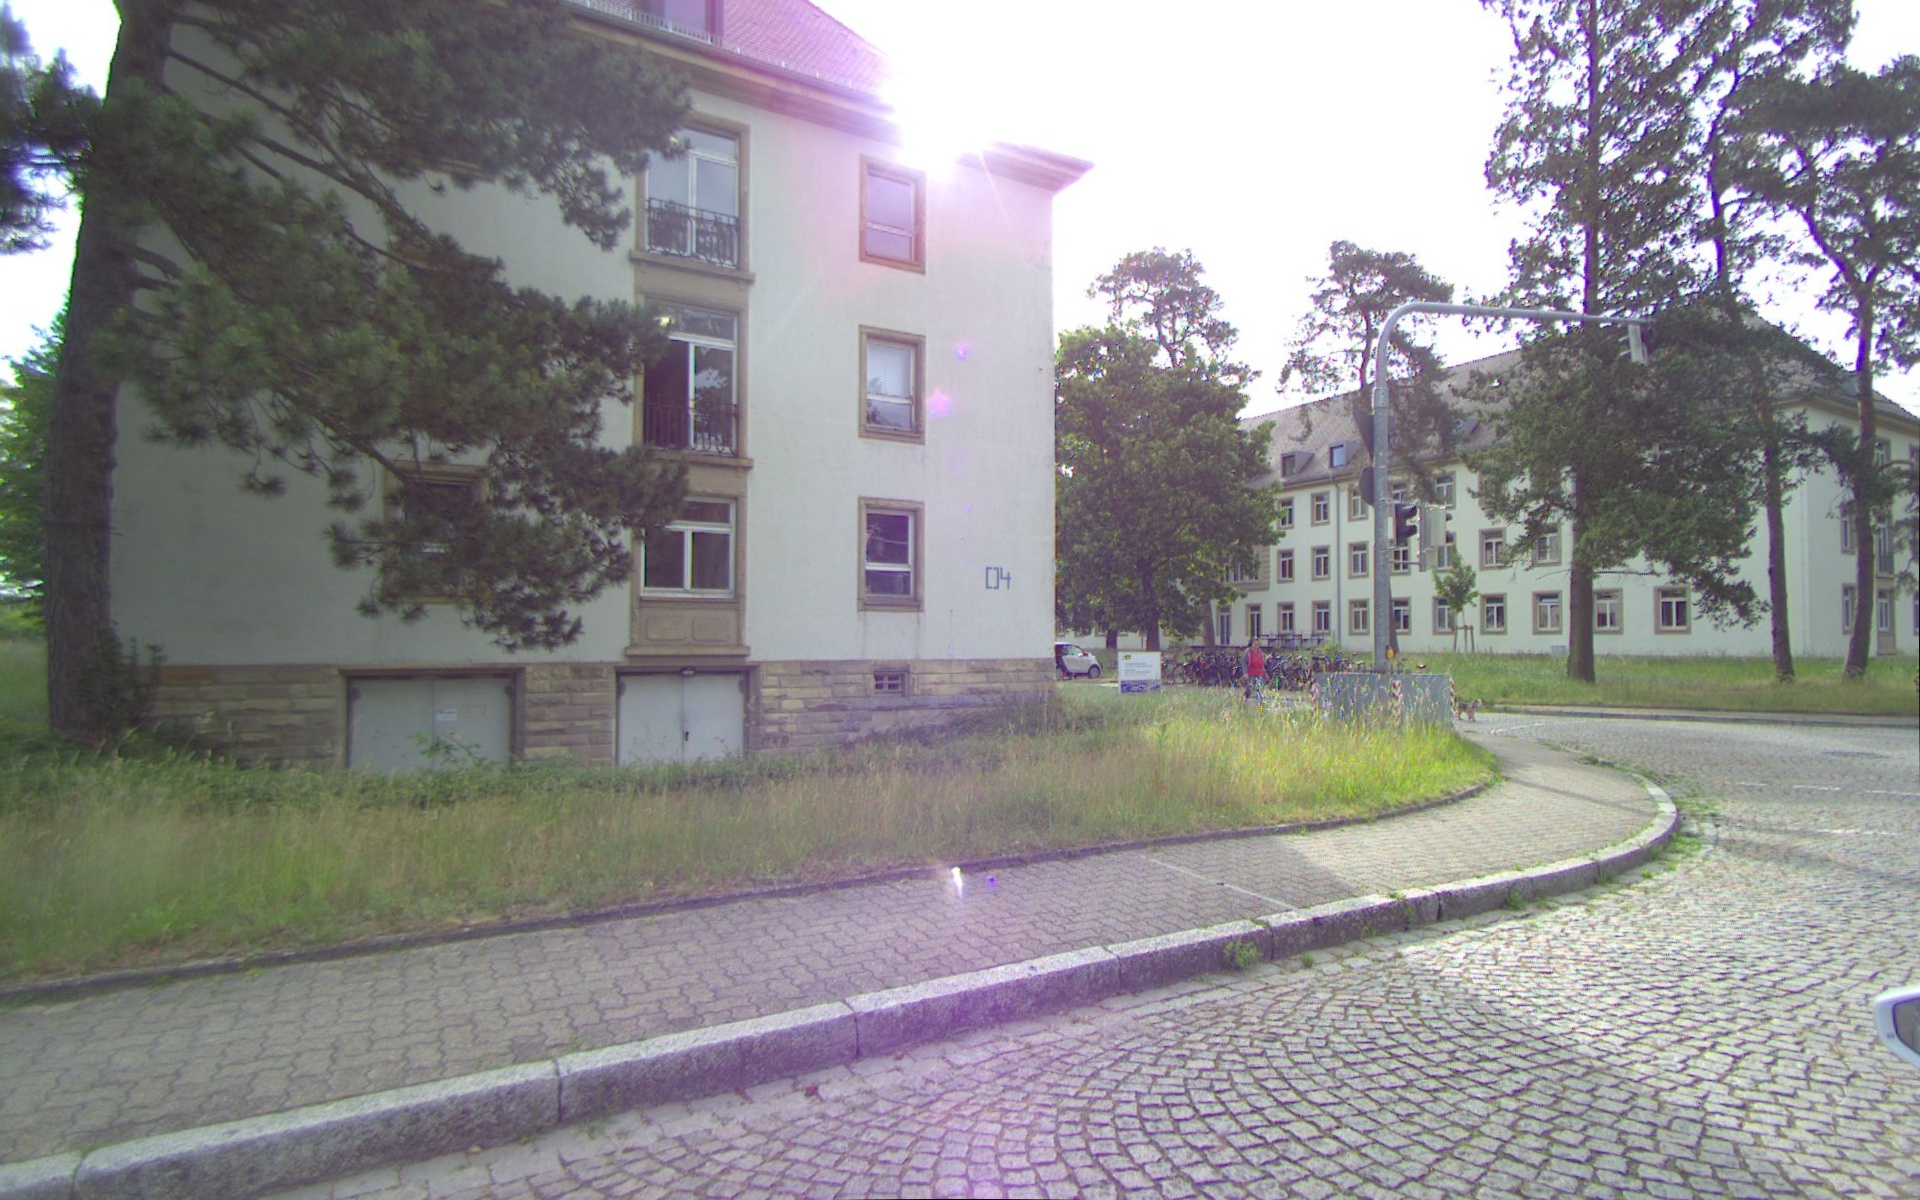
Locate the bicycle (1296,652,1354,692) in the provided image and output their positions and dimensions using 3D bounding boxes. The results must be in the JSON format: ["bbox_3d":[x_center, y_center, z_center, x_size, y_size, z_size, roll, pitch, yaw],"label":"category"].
[{"bbox_3d":[11.073,2.167,30.472,1.932,1.193,0.572,2,-3,-32],"label":"bicycle"}]

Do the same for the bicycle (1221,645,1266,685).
[{"bbox_3d":[9.409,2.153,33.333,1.677,1.300,0.447,2,-3,-32],"label":"bicycle"}]

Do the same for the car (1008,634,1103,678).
[{"bbox_3d":[4.400,2.558,46.276,4.087,1.932,1.831,1,-3,-30],"label":"car"}]

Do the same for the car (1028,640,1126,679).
[{"bbox_3d":[5.006,2.528,43.008,3.851,1.576,1.831,2,-3,-30],"label":"car"}]

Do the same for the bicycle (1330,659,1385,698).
[{"bbox_3d":[11.004,2.164,27.828,0.447,1.009,1.453,1,-3,-28],"label":"bicycle"}]

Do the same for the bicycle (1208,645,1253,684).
[{"bbox_3d":[9.110,2.159,33.809,1.677,1.300,0.447,2,-3,-32],"label":"bicycle"}]

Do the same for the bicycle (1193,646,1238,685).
[{"bbox_3d":[8.758,2.220,34.370,1.677,1.300,0.447,2,-3,-32],"label":"bicycle"}]

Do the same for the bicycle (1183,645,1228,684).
[{"bbox_3d":[8.507,2.226,34.786,1.677,1.300,0.447,2,-3,-32],"label":"bicycle"}]

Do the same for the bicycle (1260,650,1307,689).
[{"bbox_3d":[10.248,2.184,31.818,1.677,1.193,0.447,2,-3,-32],"label":"bicycle"}]

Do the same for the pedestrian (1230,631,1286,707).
[{"bbox_3d":[6.792,1.558,22.934,0.924,1.690,0.860,1,-2,-13],"label":"pedestrian"}]

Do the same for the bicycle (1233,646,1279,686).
[{"bbox_3d":[9.700,2.148,32.908,1.677,1.300,0.447,2,-3,-32],"label":"bicycle"}]

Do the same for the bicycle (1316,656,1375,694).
[{"bbox_3d":[11.481,2.227,29.907,1.974,1.092,0.572,2,-3,-32],"label":"bicycle"}]

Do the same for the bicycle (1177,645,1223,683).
[{"bbox_3d":[8.442,2.239,35.295,1.765,1.300,0.440,2,-3,-32],"label":"bicycle"}]

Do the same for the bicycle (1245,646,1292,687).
[{"bbox_3d":[9.985,2.143,32.492,1.677,1.300,0.447,2,-3,-32],"label":"bicycle"}]

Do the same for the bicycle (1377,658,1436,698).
[{"bbox_3d":[11.779,2.052,26.519,0.447,1.009,1.453,1,-3,-28],"label":"bicycle"}]

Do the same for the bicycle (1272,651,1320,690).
[{"bbox_3d":[10.506,2.192,31.407,1.677,1.193,0.447,2,-3,-32],"label":"bicycle"}]

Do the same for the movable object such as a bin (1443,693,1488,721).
[{"bbox_3d":[10.159,2.148,20.199,0.437,0.510,0.750,0,-1,-14],"label":"movable object such as a bin"}]

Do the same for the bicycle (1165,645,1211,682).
[{"bbox_3d":[8.100,2.240,35.629,1.807,1.300,0.447,2,-3,-32],"label":"bicycle"}]

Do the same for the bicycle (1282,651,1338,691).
[{"bbox_3d":[10.808,2.175,30.992,1.909,1.193,0.525,2,-3,-32],"label":"bicycle"}]
